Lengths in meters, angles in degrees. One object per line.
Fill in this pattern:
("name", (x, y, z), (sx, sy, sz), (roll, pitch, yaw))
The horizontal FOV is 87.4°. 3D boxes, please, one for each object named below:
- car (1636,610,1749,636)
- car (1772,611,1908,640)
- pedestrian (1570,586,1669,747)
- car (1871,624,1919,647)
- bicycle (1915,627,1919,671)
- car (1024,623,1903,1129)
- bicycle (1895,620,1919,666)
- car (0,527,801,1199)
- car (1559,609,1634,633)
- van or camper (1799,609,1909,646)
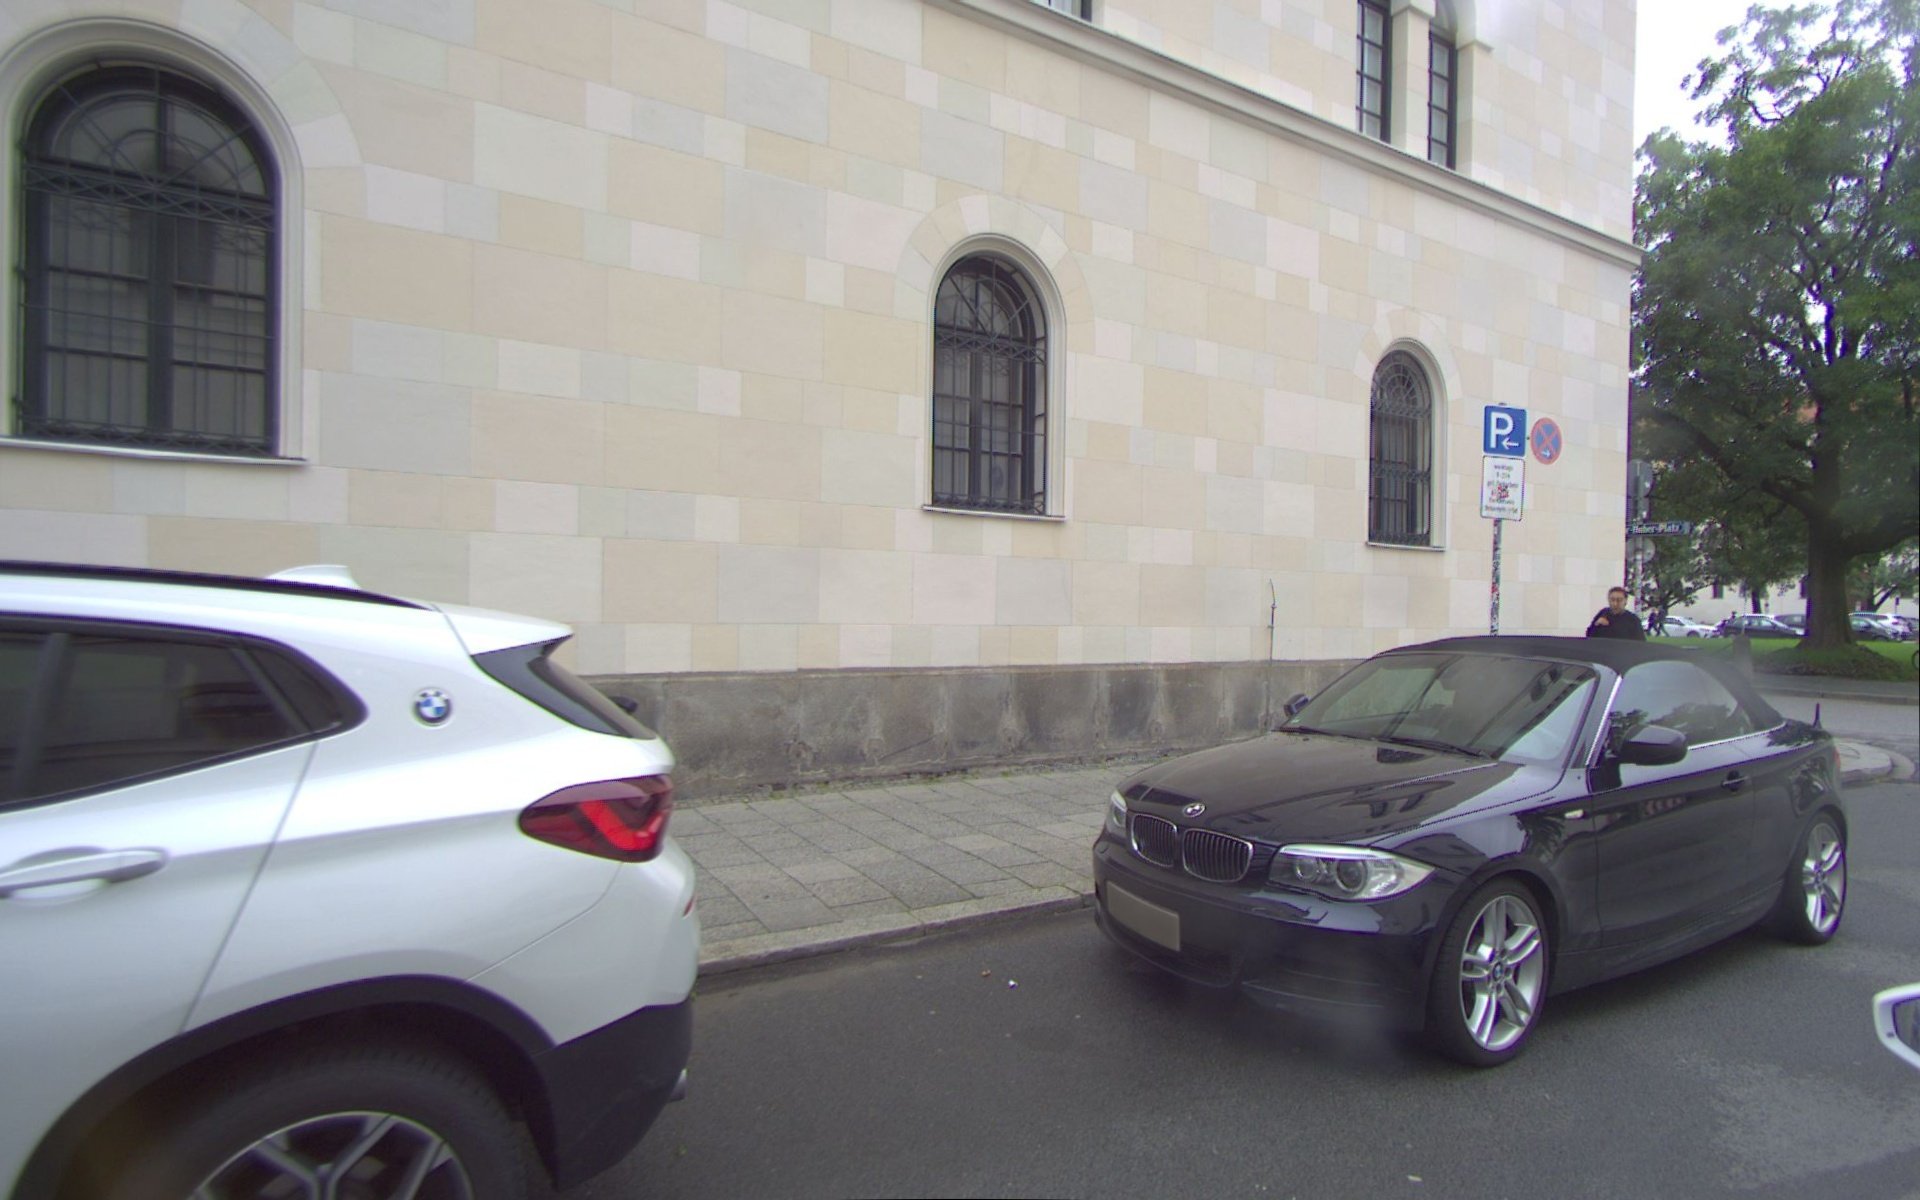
("car", (42.370, 1.301, 58.249), (1.978, 1.394, 4.941), (0, 0, -32))
("car", (46.042, 1.314, 52.695), (1.978, 1.394, 5.045), (0, 0, -32))
("pedestrian", (7.629, 0.743, 11.630), (0.682, 1.772, 0.750), (0, -1, -33))
("car", (60.255, 2.241, 63.516), (1.585, 1.394, 3.651), (0, 0, -32))
("bicycle", (23.609, 1.182, 23.562), (0.687, 1.049, 1.616), (0, 1, -20))
("car", (2.476, 0.839, 4.636), (4.164, 1.411, 1.690), (2, -2, -31))
("bicycle", (22.909, 1.020, 23.316), (0.687, 1.049, 1.616), (0, 1, -20))
("car", (-2.564, 0.672, 1.781), (4.166, 1.555, 1.768), (2, -2, -33))
("car", (39.722, 1.288, 62.721), (1.585, 1.394, 3.651), (0, 0, -32))
("van or camper", (53.697, 1.704, 60.417), (1.979, 2.040, 4.554), (2, -4, -33))
